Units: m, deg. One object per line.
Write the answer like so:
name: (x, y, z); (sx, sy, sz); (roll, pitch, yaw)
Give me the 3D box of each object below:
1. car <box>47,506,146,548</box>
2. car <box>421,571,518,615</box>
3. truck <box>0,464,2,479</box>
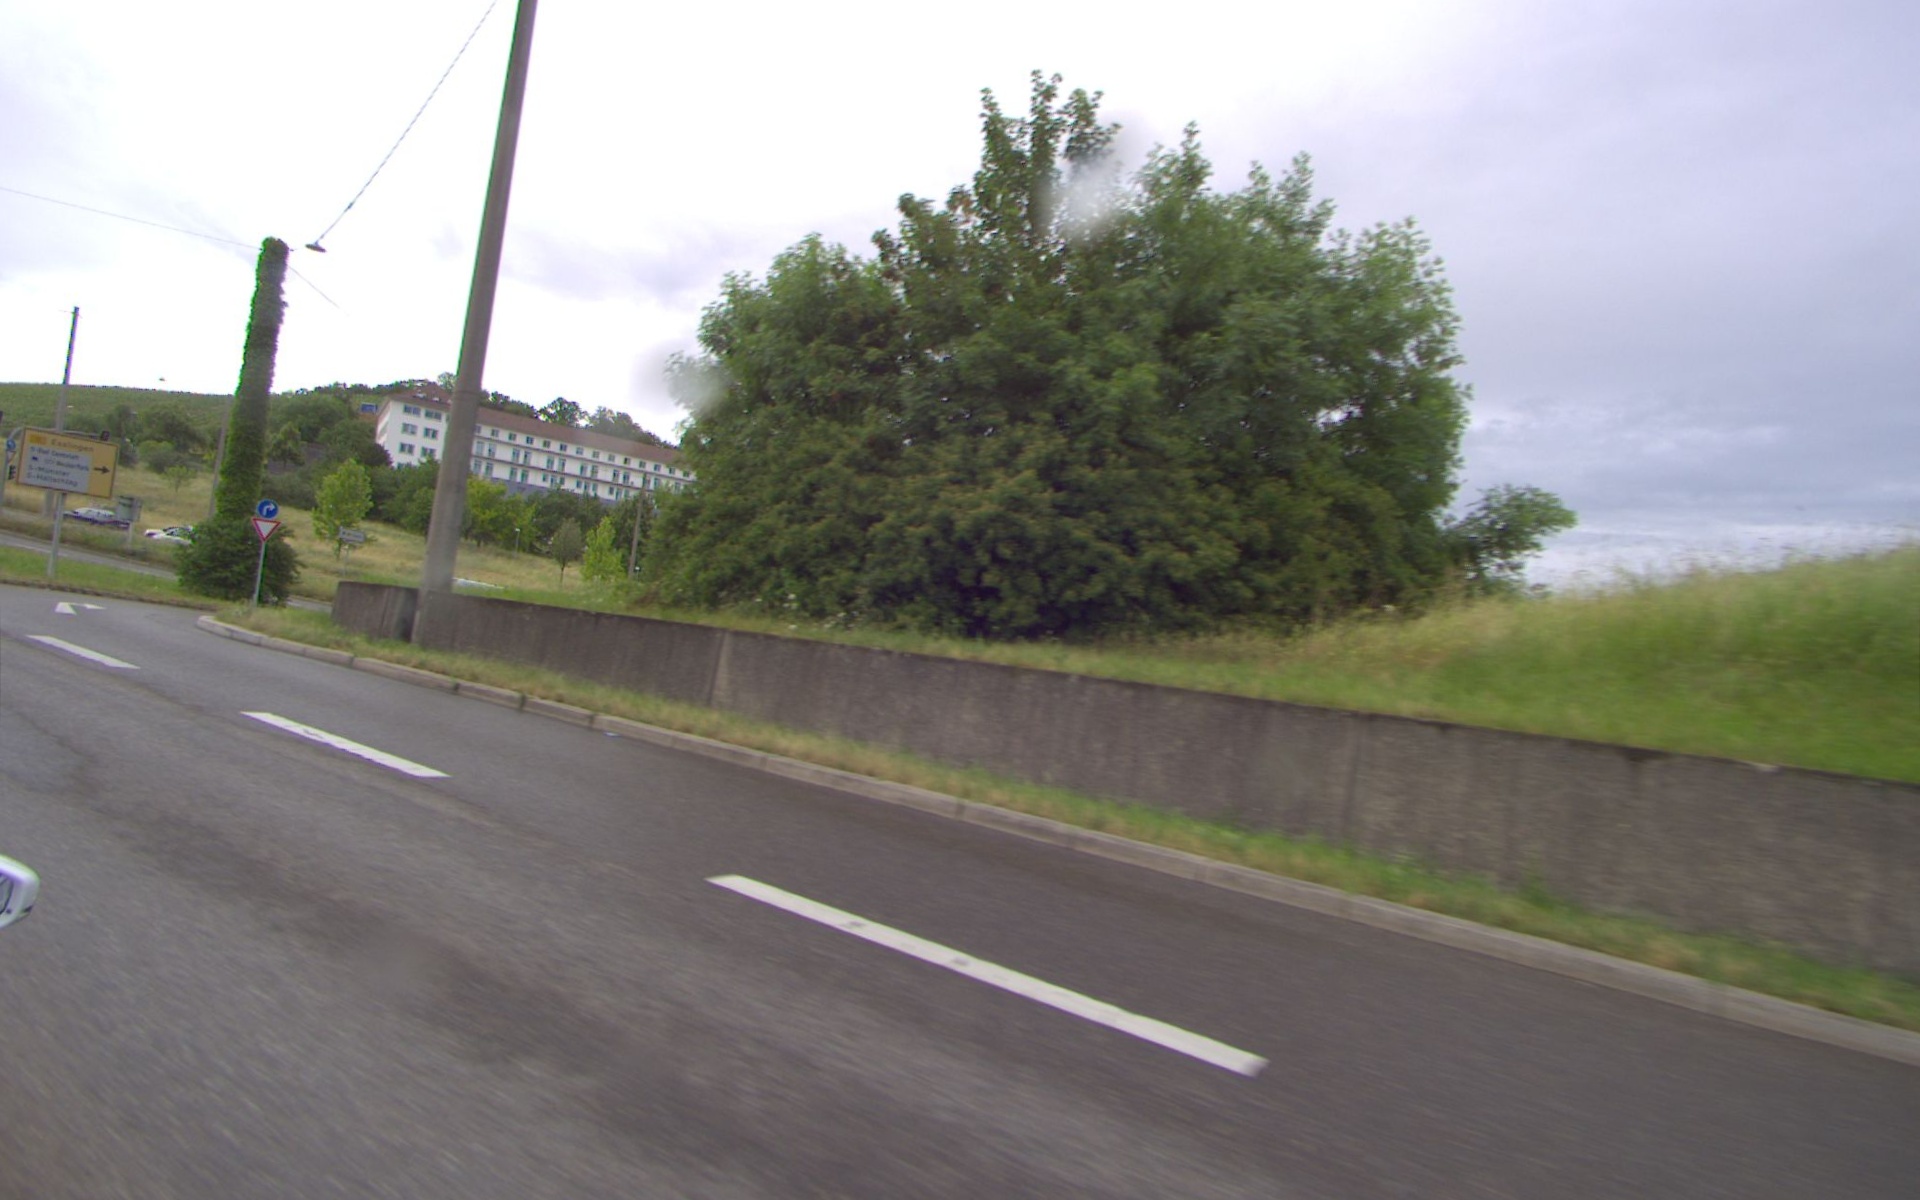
car: (-56.339, -4.756, 65.693); (4.483, 1.732, 1.999); (11, 0, -2)
car: (-30.211, -0.423, 62.056); (4.806, 1.711, 2.002); (10, -2, 4)
truck: (-69.283, -8.189, 68.245); (6.118, 3.569, 2.859); (10, 0, 10)
